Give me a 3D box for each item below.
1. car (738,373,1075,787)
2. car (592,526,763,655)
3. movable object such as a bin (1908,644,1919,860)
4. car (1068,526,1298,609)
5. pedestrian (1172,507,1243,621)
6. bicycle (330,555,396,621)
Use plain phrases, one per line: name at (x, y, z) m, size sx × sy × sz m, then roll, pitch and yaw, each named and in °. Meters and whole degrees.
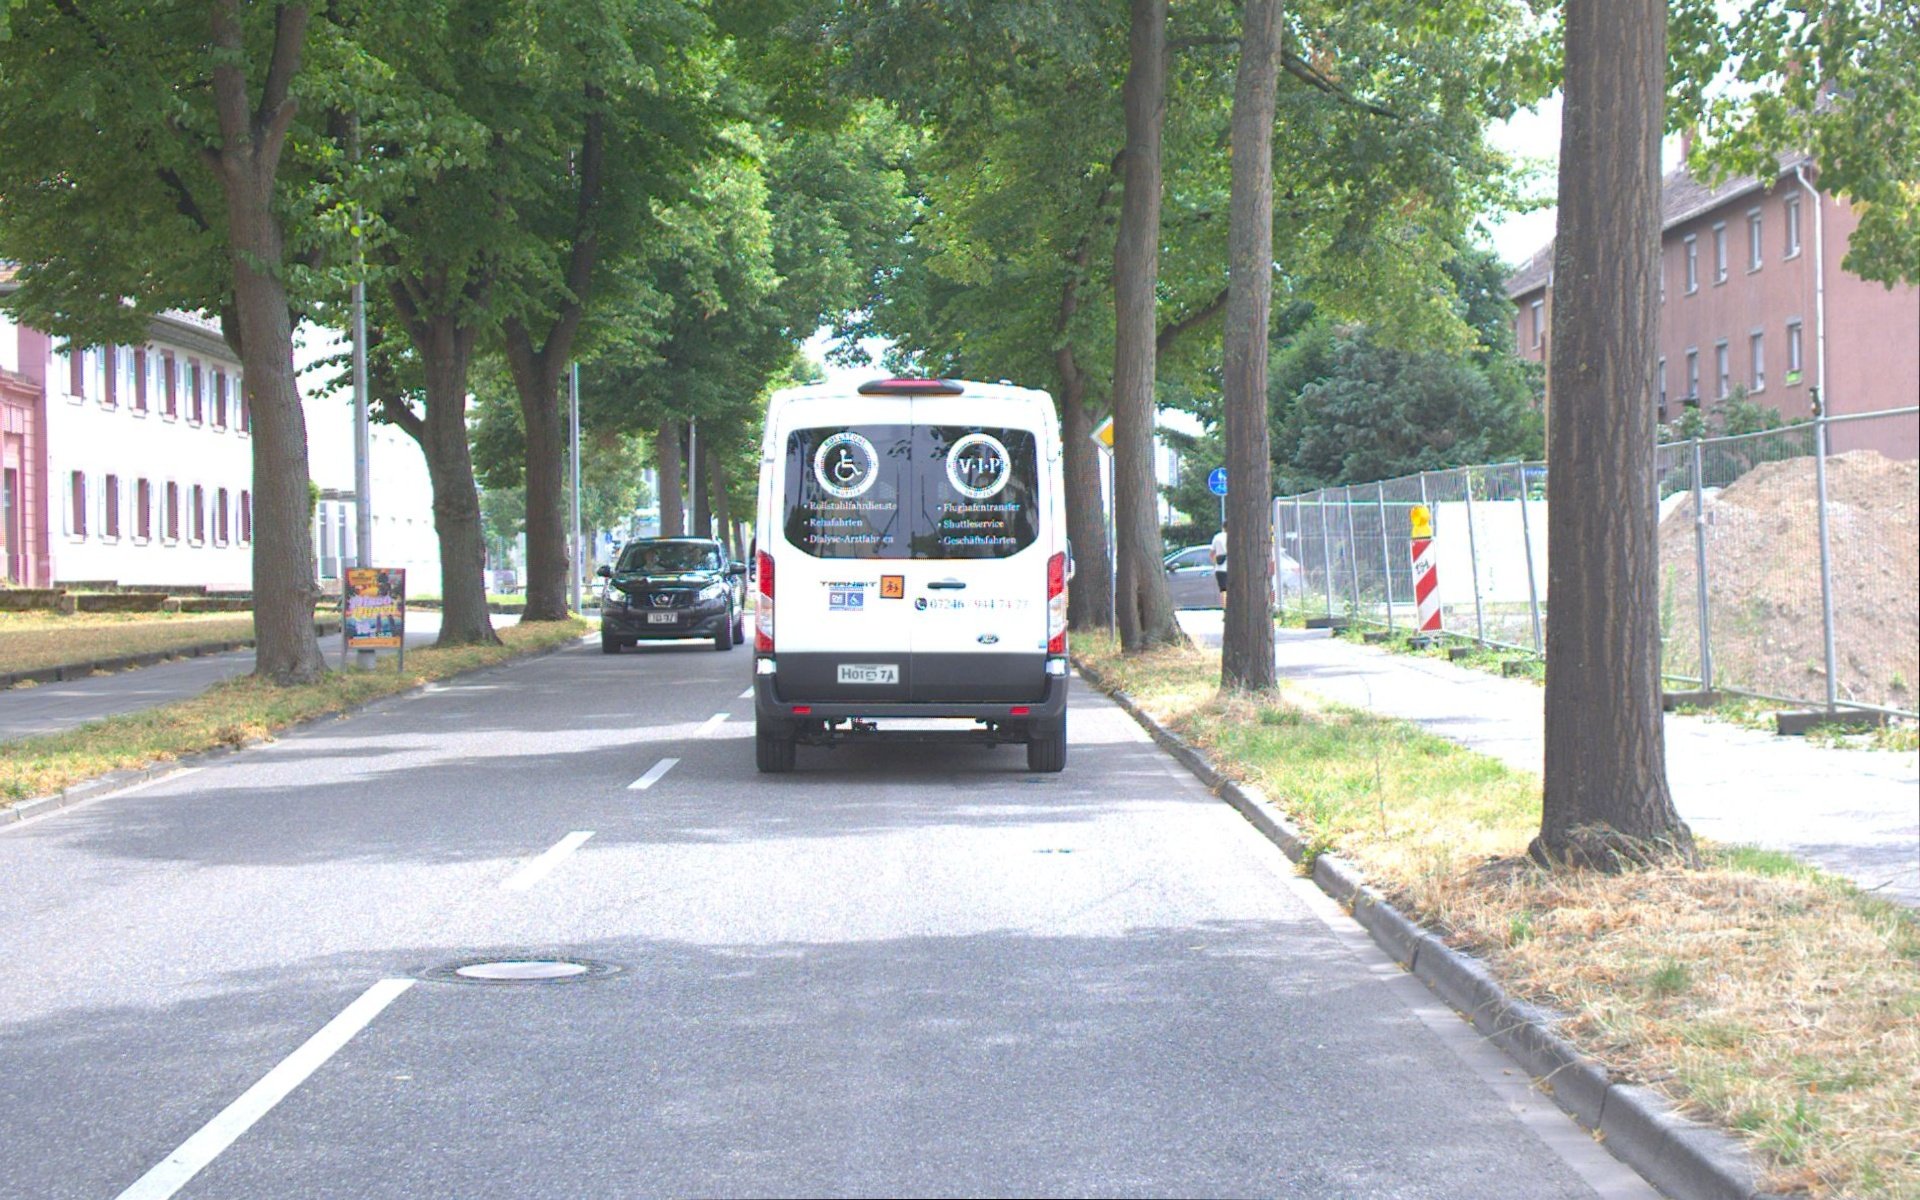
car at (-0.451, -0.148, 23.082) m, size 2.062 × 2.531 × 4.001 m, roll 0°, pitch 1°, yaw -4°
car at (-3.925, -0.176, 48.346) m, size 1.772 × 1.653 × 4.257 m, roll -2°, pitch 2°, yaw 3°
movable object such as a bin at (13.783, 1.769, 40.831) m, size 4.685 × 2.581 × 3.131 m, roll -2°, pitch 0°, yaw 14°
car at (4.324, -0.617, 67.297) m, size 4.371 × 1.438 × 2.011 m, roll -1°, pitch -2°, yaw 1°
pedestrian at (4.052, -0.593, 56.279) m, size 0.883 × 1.808 × 0.888 m, roll -2°, pitch 0°, yaw 19°
bicycle at (-10.366, -0.224, 59.742) m, size 0.722 × 1.091 × 2.225 m, roll 3°, pitch 1°, yaw -1°
